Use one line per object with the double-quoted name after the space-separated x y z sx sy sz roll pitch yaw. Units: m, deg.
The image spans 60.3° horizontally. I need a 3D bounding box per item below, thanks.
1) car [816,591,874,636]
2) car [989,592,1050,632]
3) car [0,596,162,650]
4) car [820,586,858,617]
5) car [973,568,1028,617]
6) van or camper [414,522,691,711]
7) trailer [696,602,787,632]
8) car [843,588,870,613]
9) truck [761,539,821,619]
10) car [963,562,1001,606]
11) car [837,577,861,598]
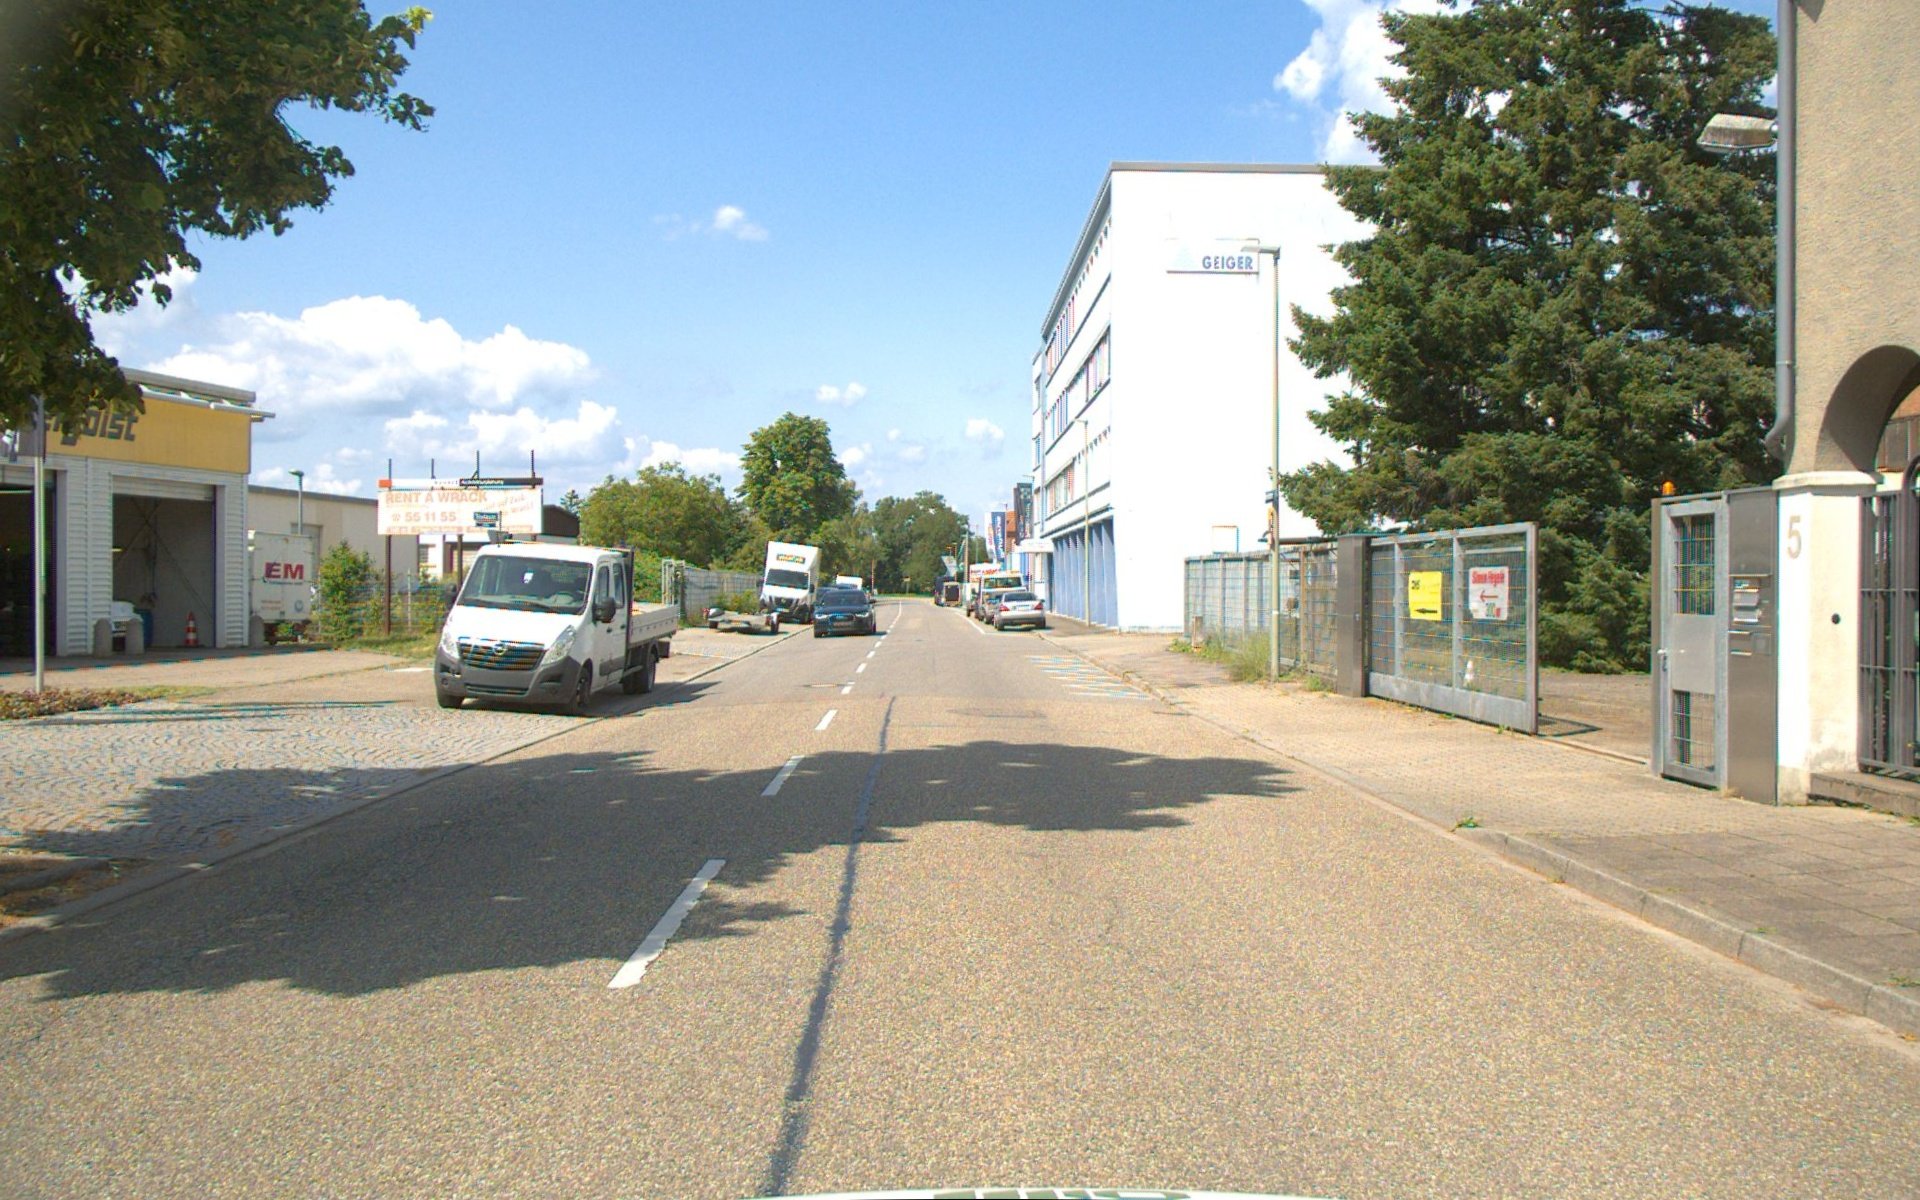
-3.626 0.404 52.624 1.621 1.348 4.415 0 0 -1 "car"
2.040 0.405 57.879 1.889 1.333 3.999 0 0 -1 "car"
-18.700 0.464 34.537 3.557 1.055 1.543 0 0 16 "car"
-6.745 0.054 92.562 1.953 1.713 3.999 0 0 -1 "car"
1.712 -0.342 71.700 2.171 2.049 5.484 0 0 -1 "car"
-5.952 0.193 25.446 2.128 2.455 7.699 0 0 2 "van or camper"
-7.229 0.552 55.419 2.368 0.828 5.536 2 0 -1 "trailer"
-6.945 0.024 111.216 1.678 1.679 3.999 0 0 -1 "car"
-7.045 -0.867 69.459 1.988 3.209 6.498 0 0 -1 "truck"
1.068 -0.809 82.265 1.673 2.126 3.999 0 0 -2 "car"
-9.949 -1.150 148.012 1.953 1.847 3.999 0 0 -1 "car"
